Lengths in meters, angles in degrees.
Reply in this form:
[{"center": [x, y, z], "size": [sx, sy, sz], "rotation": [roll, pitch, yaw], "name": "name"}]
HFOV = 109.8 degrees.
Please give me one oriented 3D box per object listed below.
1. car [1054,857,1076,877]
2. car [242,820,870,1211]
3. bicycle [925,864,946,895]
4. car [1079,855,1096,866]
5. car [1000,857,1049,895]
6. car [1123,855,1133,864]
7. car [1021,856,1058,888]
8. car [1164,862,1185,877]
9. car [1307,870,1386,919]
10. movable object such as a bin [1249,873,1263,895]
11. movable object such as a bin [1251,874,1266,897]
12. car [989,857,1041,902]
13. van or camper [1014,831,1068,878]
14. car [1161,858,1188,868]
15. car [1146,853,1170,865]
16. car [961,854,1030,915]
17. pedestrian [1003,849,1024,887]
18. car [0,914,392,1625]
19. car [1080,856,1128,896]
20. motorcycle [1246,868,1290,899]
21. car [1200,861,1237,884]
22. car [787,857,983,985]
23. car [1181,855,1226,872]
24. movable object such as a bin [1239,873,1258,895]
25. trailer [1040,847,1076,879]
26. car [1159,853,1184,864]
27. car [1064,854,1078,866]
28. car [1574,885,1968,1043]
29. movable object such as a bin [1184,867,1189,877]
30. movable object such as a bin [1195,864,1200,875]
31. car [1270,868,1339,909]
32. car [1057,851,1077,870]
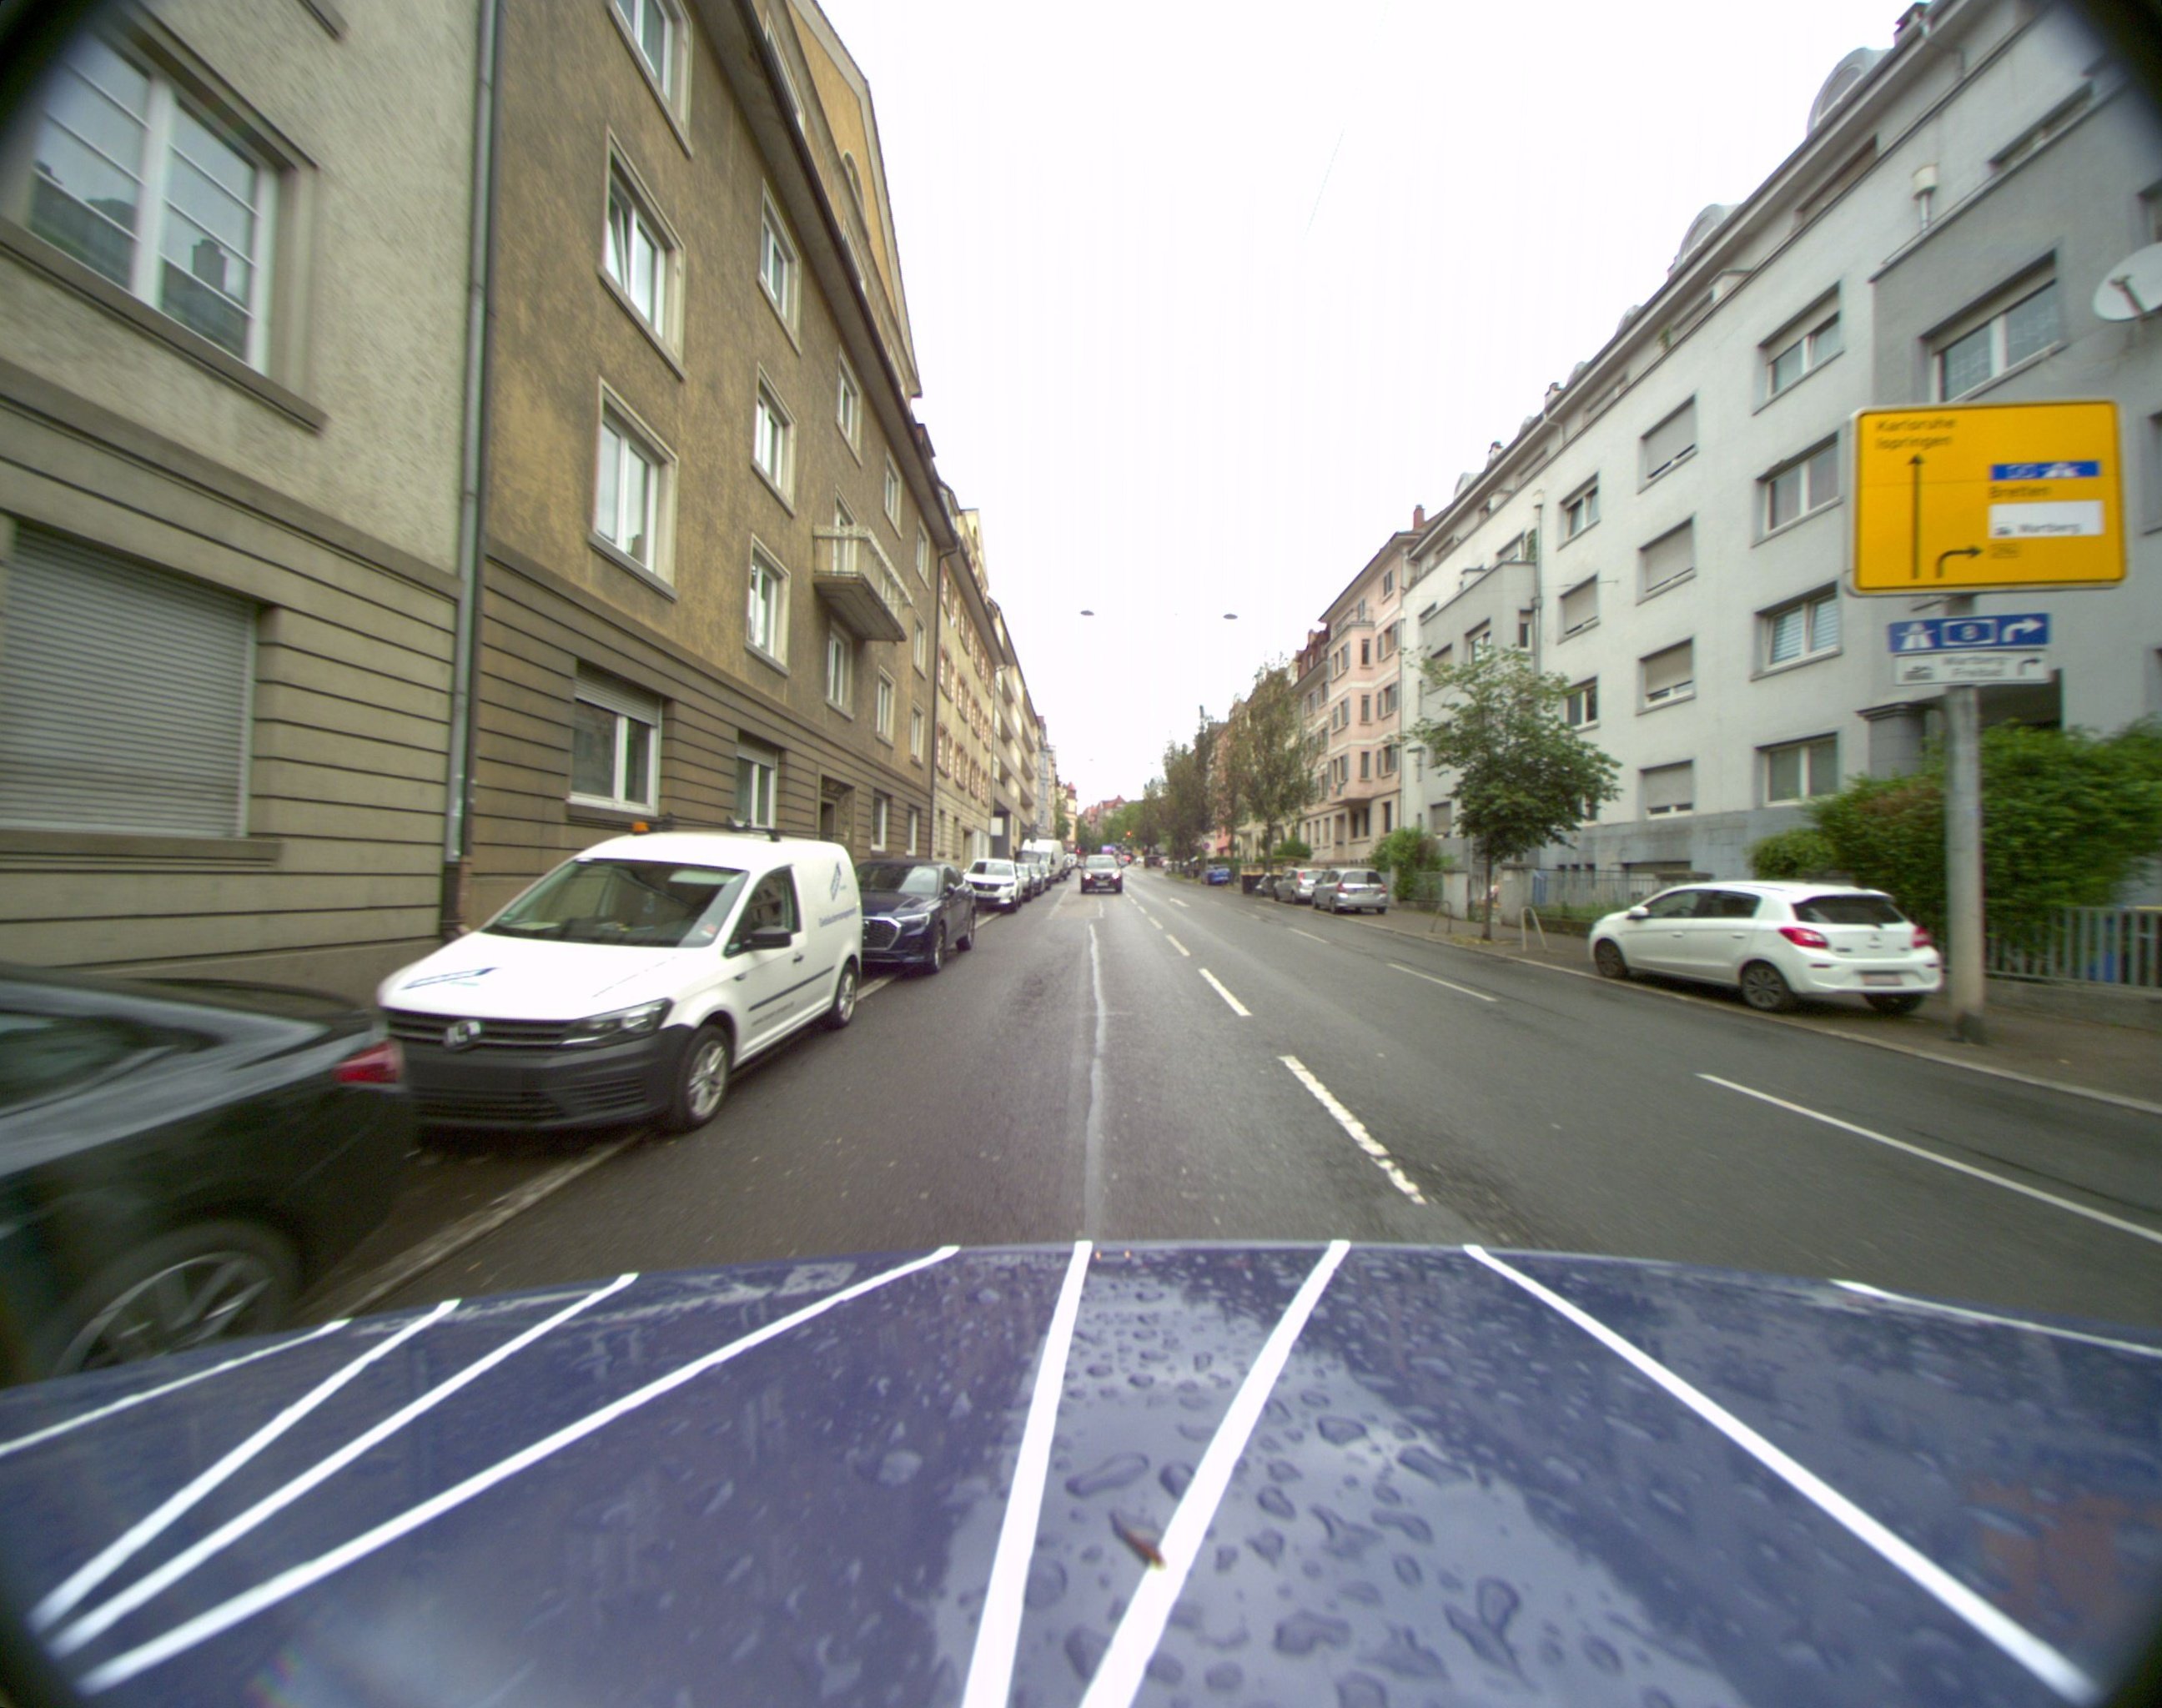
[{"center": [-1.640, 1.326, 79.505], "size": [1.994, 1.944, 4.822], "rotation": [2, 0, 1], "name": "car"}, {"center": [-3.106, 0.785, 5.710], "size": [1.795, 1.807, 4.080], "rotation": [3, 0, 0], "name": "car"}, {"center": [-5.411, 0.931, 28.326], "size": [0.248, 1.067, 2.106], "rotation": [3, 1, 1], "name": "bicycle"}, {"center": [0.841, 0.846, 99.709], "size": [1.671, 1.464, 3.649], "rotation": [0, 1, -10], "name": "car"}, {"center": [-2.445, 0.913, 34.002], "size": [1.782, 1.471, 4.587], "rotation": [2, 1, 1], "name": "car"}, {"center": [8.637, 1.046, 140.230], "size": [1.772, 1.540, 3.652], "rotation": [0, 1, 1], "name": "car"}, {"center": [-2.124, 0.892, 39.610], "size": [1.782, 1.471, 4.188], "rotation": [2, 1, -2], "name": "car"}, {"center": [9.845, 1.650, 80.074], "size": [1.685, 1.409, 4.137], "rotation": [2, 0, 1], "name": "car"}, {"center": [8.900, 1.309, 25.772], "size": [1.604, 1.442, 3.889], "rotation": [0, 0, 4], "name": "car"}, {"center": [8.643, 1.480, 37.528], "size": [0.472, 1.052, 0.483], "rotation": [-2, 1, -8], "name": "movable object such as a bin"}, {"center": [8.619, 1.518, 36.893], "size": [0.526, 1.052, 0.482], "rotation": [-2, 1, -21], "name": "movable object such as a bin"}, {"center": [-2.511, 0.946, 29.587], "size": [1.636, 1.470, 3.734], "rotation": [5, 0, -1], "name": "car"}, {"center": [-2.415, 0.029, 47.460], "size": [2.188, 2.683, 6.423], "rotation": [2, 0, 7], "name": "van or camper"}, {"center": [14.361, 1.367, 116.972], "size": [3.928, 1.289, 1.646], "rotation": [2, 1, 1], "name": "car"}, {"center": [13.137, 0.887, 129.961], "size": [3.929, 1.836, 1.867], "rotation": [2, 1, -2], "name": "car"}, {"center": [-2.605, 0.880, 23.951], "size": [1.636, 1.629, 4.194], "rotation": [4, 0, -1], "name": "car"}, {"center": [-3.259, 0.692, 36.669], "size": [0.688, 1.777, 0.711], "rotation": [2, 2, -29], "name": "pedestrian"}, {"center": [-3.215, 0.922, 0.303], "size": [1.845, 1.401, 4.387], "rotation": [3, 0, 0], "name": "car"}, {"center": [0.958, 0.942, 33.680], "size": [1.890, 1.543, 3.999], "rotation": [-2, 1, -1], "name": "car"}, {"center": [8.627, 1.339, 35.082], "size": [1.805, 1.307, 0.743], "rotation": [2, 0, 42], "name": "motorcycle"}, {"center": [9.238, 1.215, 51.430], "size": [1.683, 1.377, 4.603], "rotation": [2, 0, 1], "name": "car"}, {"center": [-2.775, 0.863, 11.802], "size": [1.795, 1.539, 4.226], "rotation": [3, 0, 1], "name": "car"}, {"center": [13.849, 1.029, 86.075], "size": [4.731, 1.894, 1.918], "rotation": [0, 1, -1], "name": "car"}, {"center": [8.372, 1.507, 38.076], "size": [0.827, 1.052, 0.483], "rotation": [-2, 1, 2], "name": "movable object such as a bin"}, {"center": [-1.585, 0.656, 54.595], "size": [1.998, 2.139, 5.074], "rotation": [3, -1, 3], "name": "trailer"}, {"center": [15.254, 0.741, 127.743], "size": [3.928, 1.613, 1.592], "rotation": [2, 1, 1], "name": "car"}, {"center": [-1.322, 0.817, 99.233], "size": [1.709, 1.434, 3.933], "rotation": [2, 0, 1], "name": "car"}, {"center": [8.526, 1.242, 9.927], "size": [1.650, 1.499, 3.796], "rotation": [1, 0, -1], "name": "car"}, {"center": [8.932, 1.519, 64.195], "size": [0.365, 0.884, 0.572], "rotation": [0, 0, 0], "name": "movable object such as a bin"}, {"center": [9.858, 1.301, 64.136], "size": [0.365, 0.906, 0.572], "rotation": [0, 1, 0], "name": "movable object such as a bin"}, {"center": [8.924, 1.319, 30.582], "size": [1.605, 1.388, 3.886], "rotation": [1, 1, 0], "name": "car"}, {"center": [-1.263, 0.551, 70.650], "size": [1.750, 1.630, 4.273], "rotation": [2, 0, 0], "name": "car"}]
